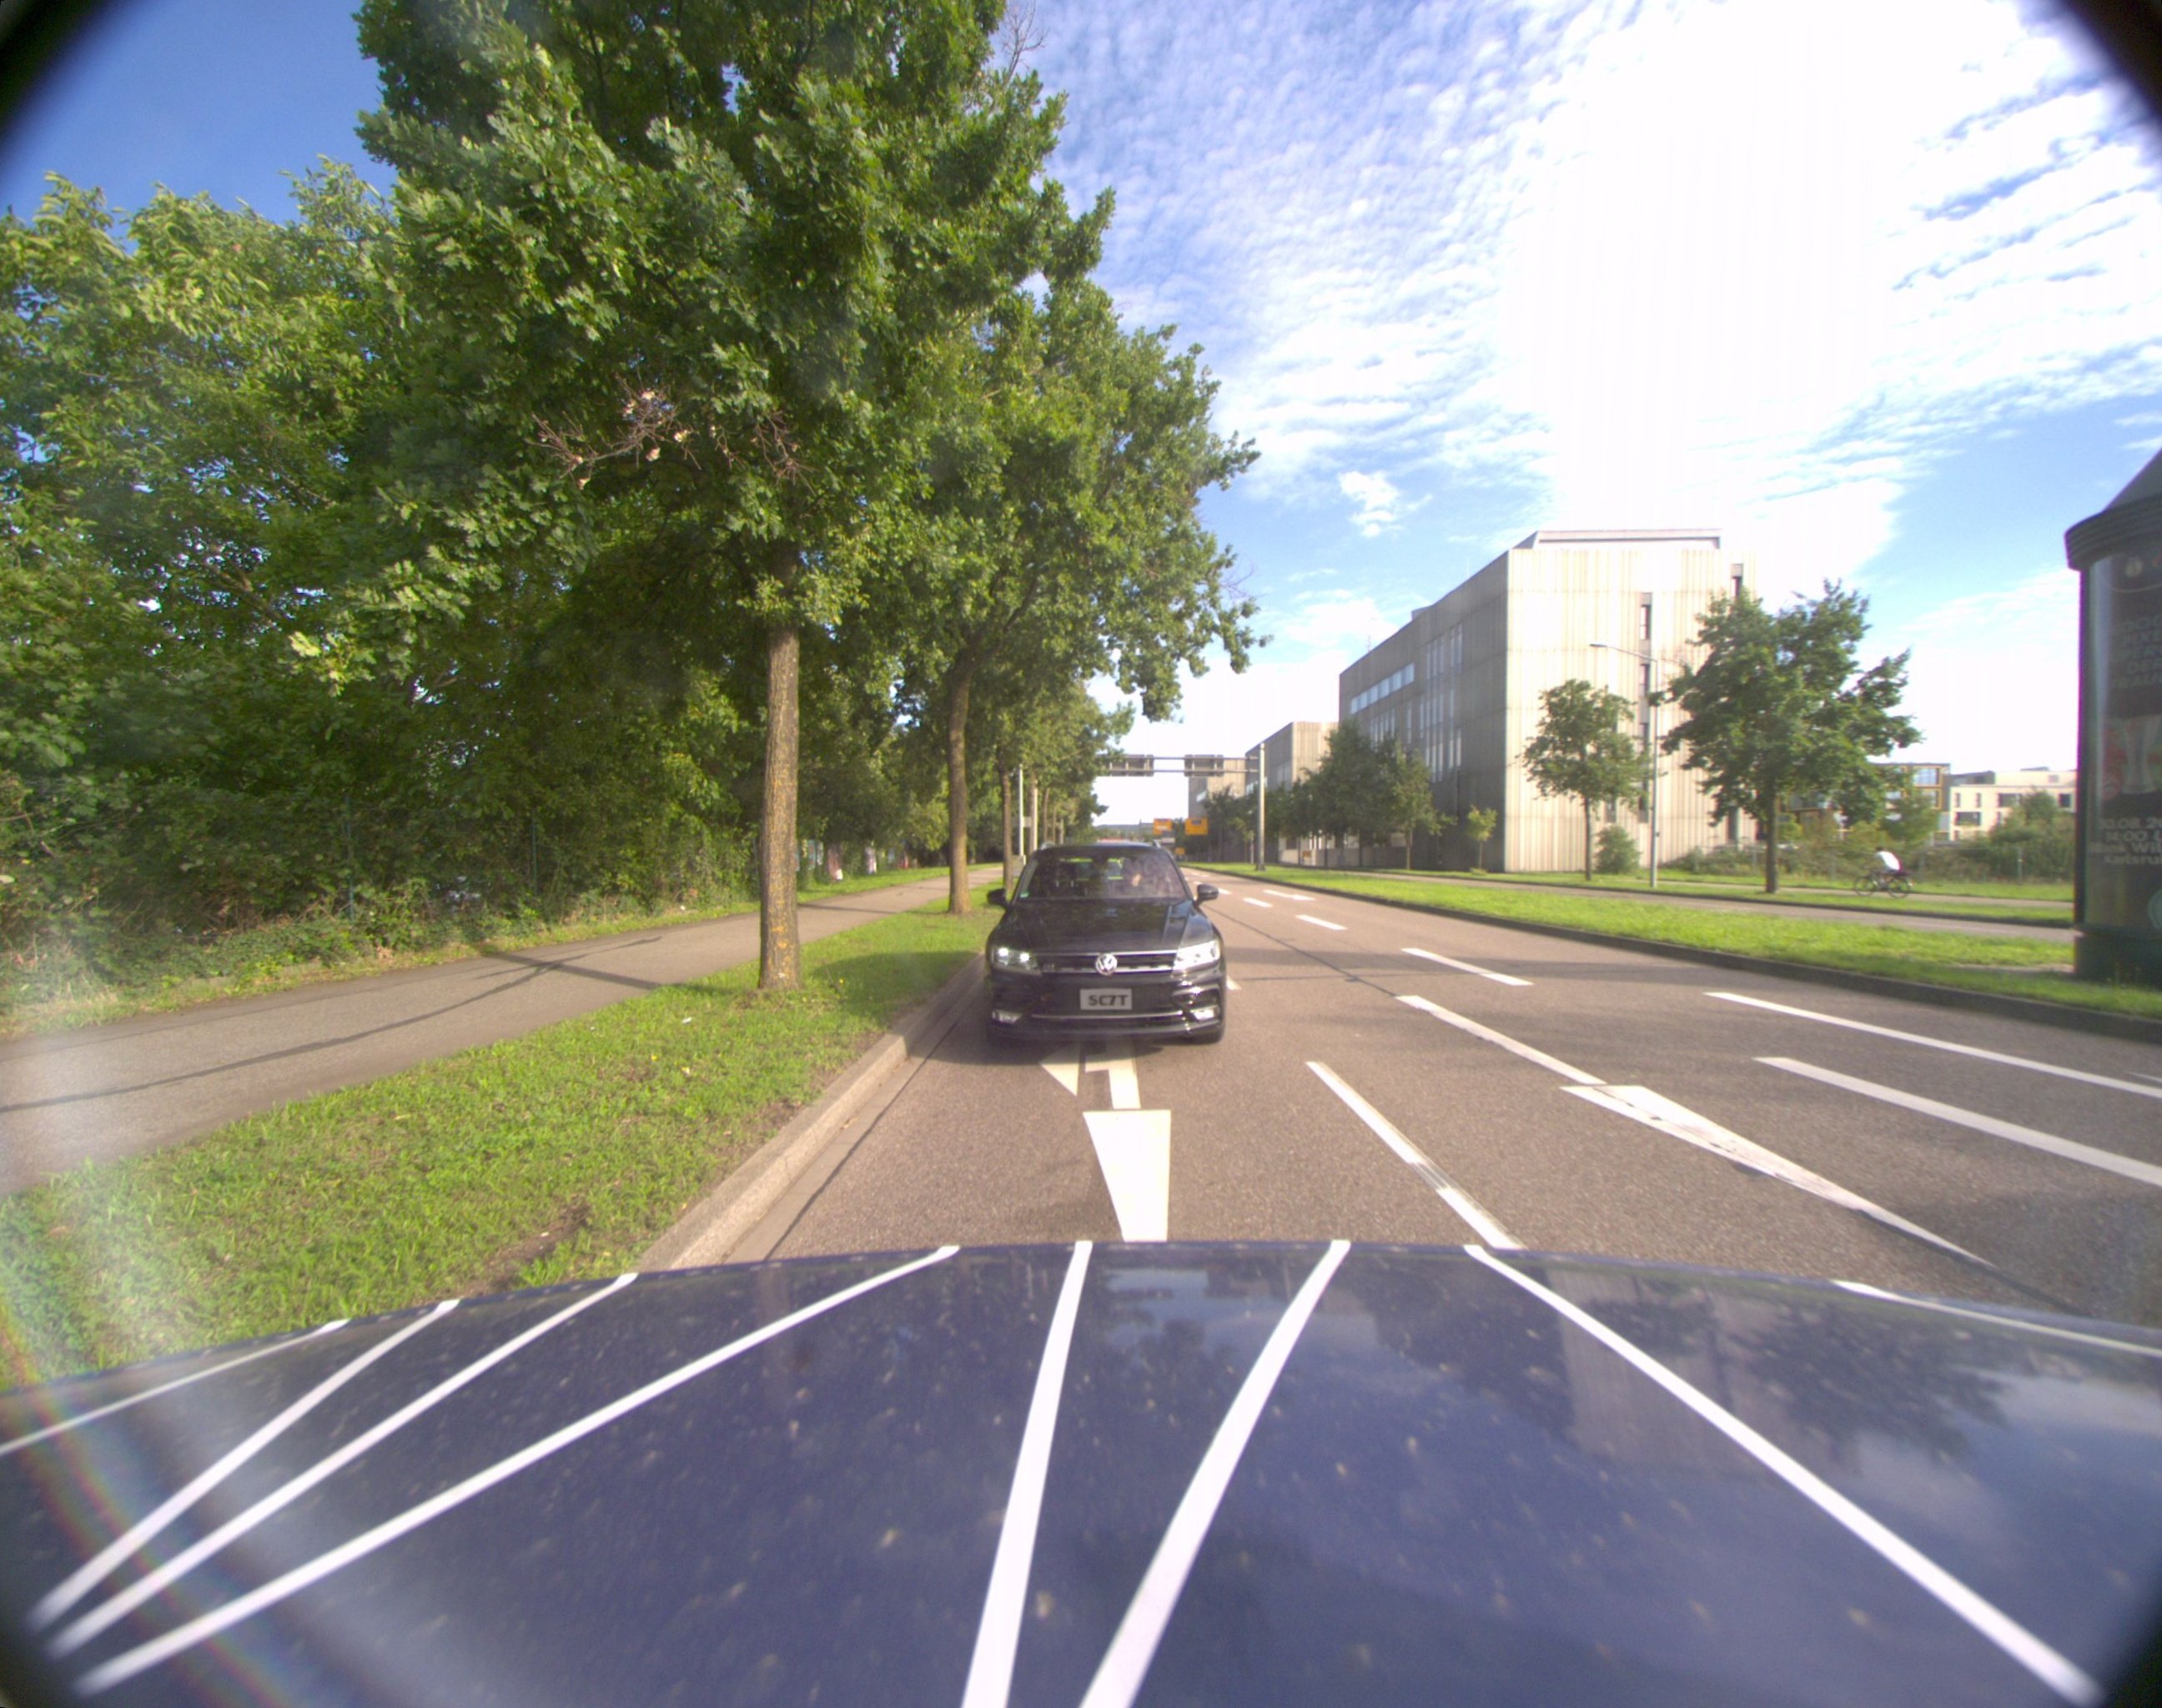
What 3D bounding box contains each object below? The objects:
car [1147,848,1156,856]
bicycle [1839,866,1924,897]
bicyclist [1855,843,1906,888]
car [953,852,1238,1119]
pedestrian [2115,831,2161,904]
[{"bbox_3d":[17.223,-0.499,185.562,1.998,2.002,4.000,0,0,0],"label":"car"},{"bbox_3d":[27.486,0.924,26.135,0.897,0.975,1.911,1,0,1],"label":"bicycle"},{"bbox_3d":[27.480,0.371,26.134,0.707,1.517,0.989,0,1,1],"label":"bicyclist"},{"bbox_3d":[0.147,0.843,6.783,1.775,1.637,3.868,-2,1,2],"label":"car"},{"bbox_3d":[29.534,0.367,21.008,0.676,2.002,0.867,0,1,0],"label":"pedestrian"}]
